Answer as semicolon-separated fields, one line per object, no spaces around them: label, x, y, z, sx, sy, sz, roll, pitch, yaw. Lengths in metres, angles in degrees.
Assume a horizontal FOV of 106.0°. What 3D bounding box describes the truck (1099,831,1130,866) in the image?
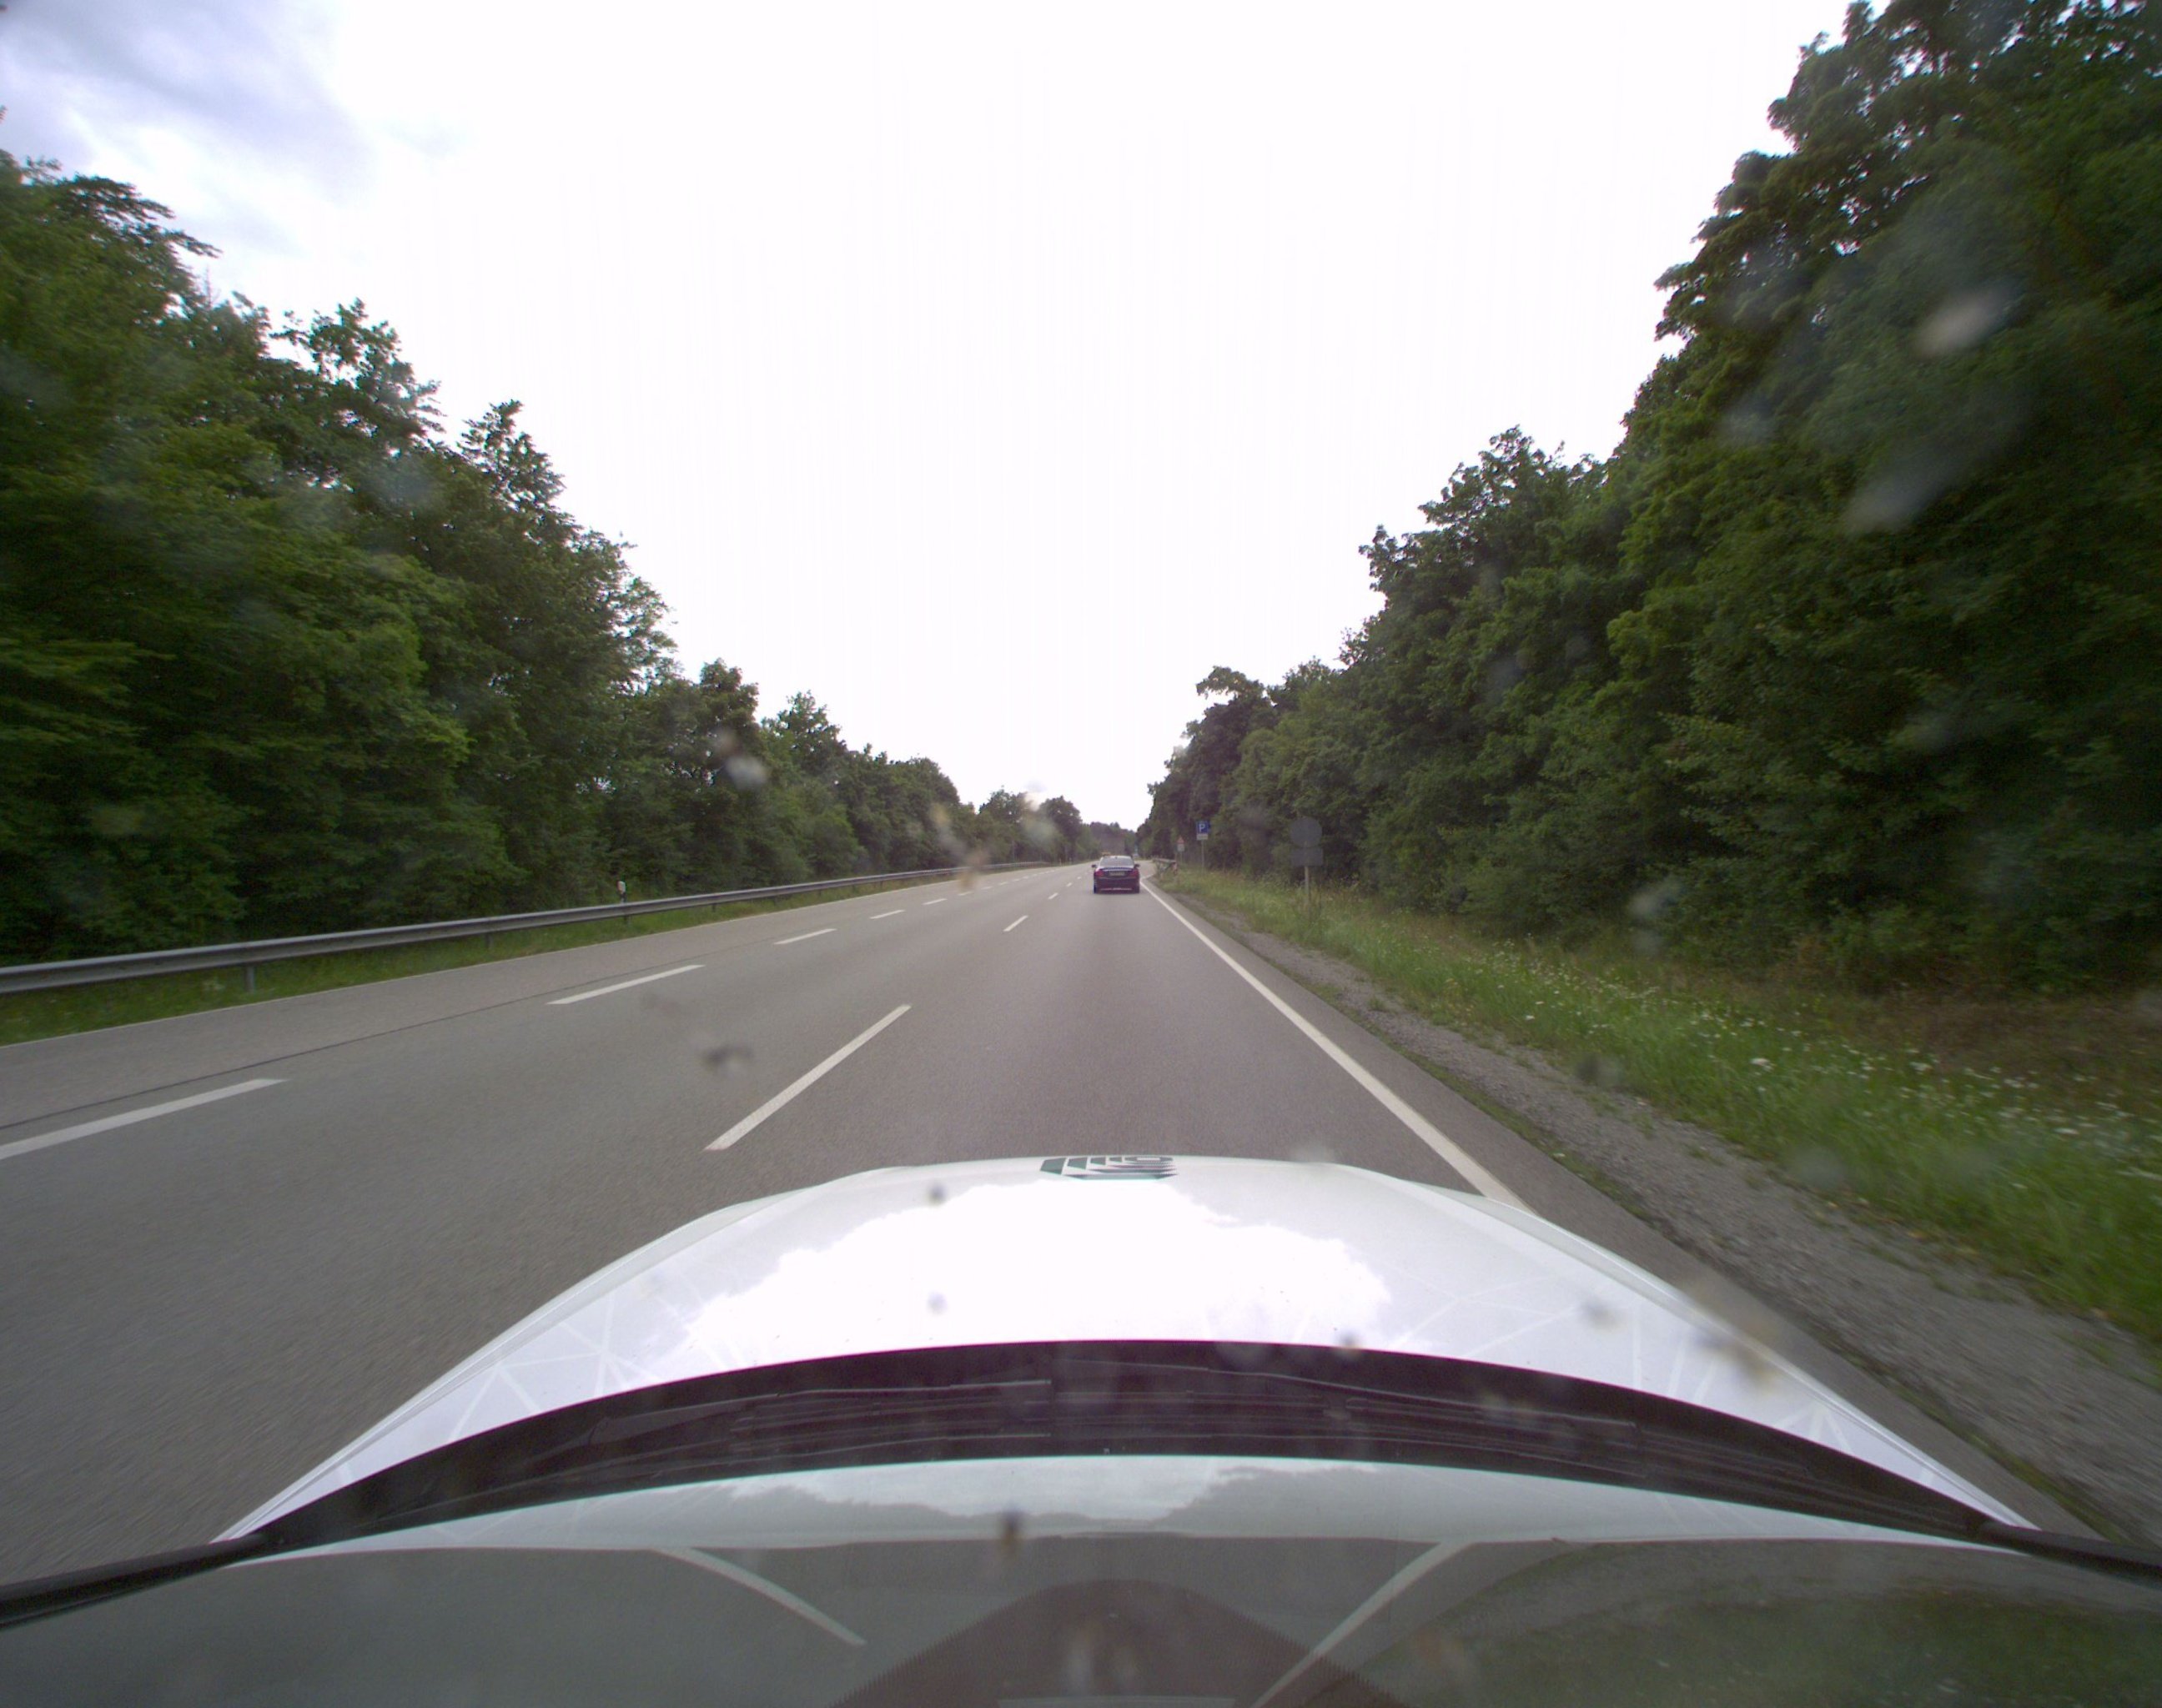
truck;3.753;-0.580;91.784;3.268;3.611;11.404;-1;0;2

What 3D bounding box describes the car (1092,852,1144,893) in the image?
car;1.454;0.699;33.111;1.787;1.552;3.997;-1;0;-2
